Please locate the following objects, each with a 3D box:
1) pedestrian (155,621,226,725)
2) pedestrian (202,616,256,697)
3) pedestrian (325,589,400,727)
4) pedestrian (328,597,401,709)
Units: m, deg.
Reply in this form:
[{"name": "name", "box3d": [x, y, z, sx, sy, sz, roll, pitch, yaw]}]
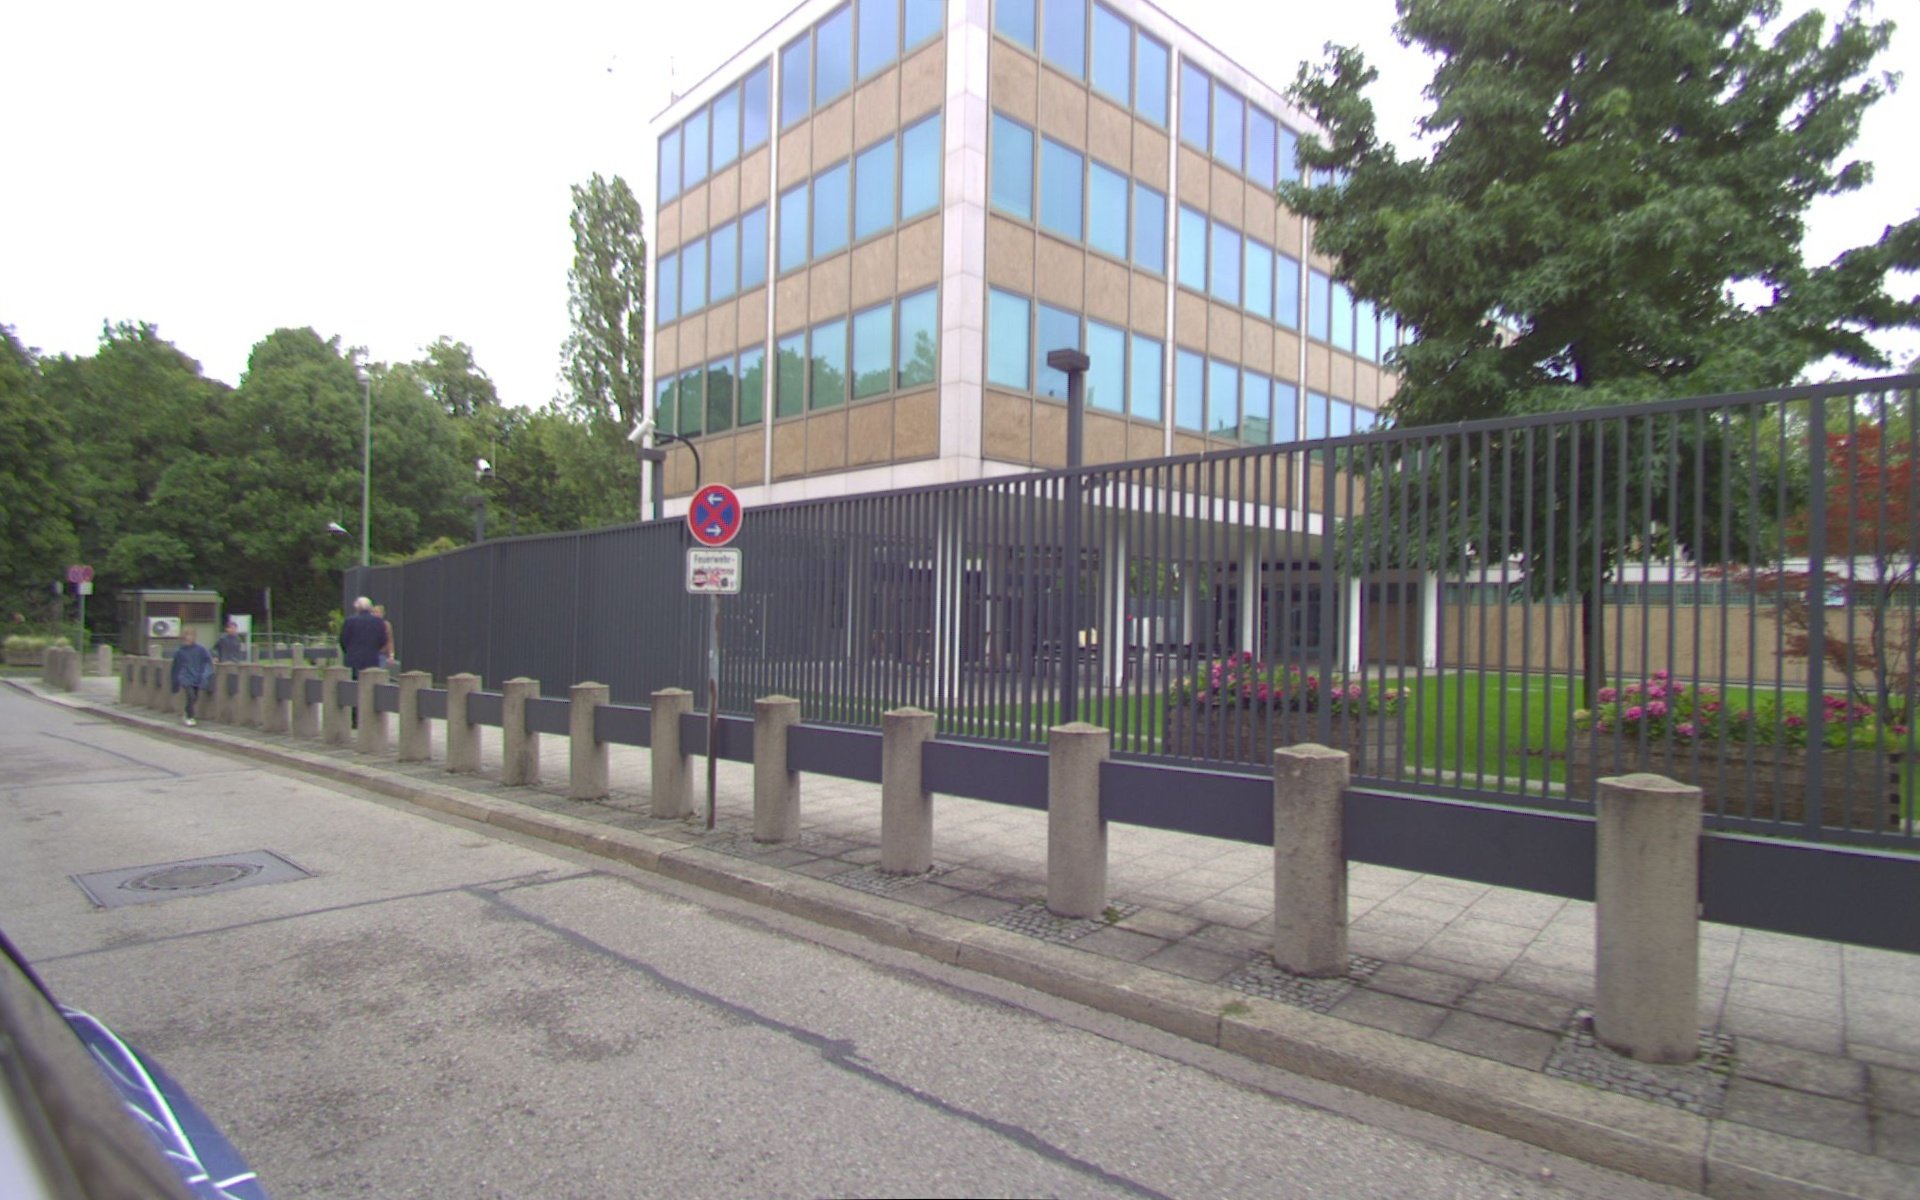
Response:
[{"name": "pedestrian", "box3d": [-11.429, 1.055, 15.035, 1.078, 1.478, 0.631, -1, 0, 42]}, {"name": "pedestrian", "box3d": [-14.588, 1.097, 20.186, 0.767, 1.551, 0.934, -1, 0, -41]}, {"name": "pedestrian", "box3d": [-7.973, 0.758, 13.504, 0.766, 1.782, 0.617, -1, -2, 41]}, {"name": "pedestrian", "box3d": [-9.615, 0.827, 16.338, 0.814, 1.736, 0.906, -1, 0, -44]}]
